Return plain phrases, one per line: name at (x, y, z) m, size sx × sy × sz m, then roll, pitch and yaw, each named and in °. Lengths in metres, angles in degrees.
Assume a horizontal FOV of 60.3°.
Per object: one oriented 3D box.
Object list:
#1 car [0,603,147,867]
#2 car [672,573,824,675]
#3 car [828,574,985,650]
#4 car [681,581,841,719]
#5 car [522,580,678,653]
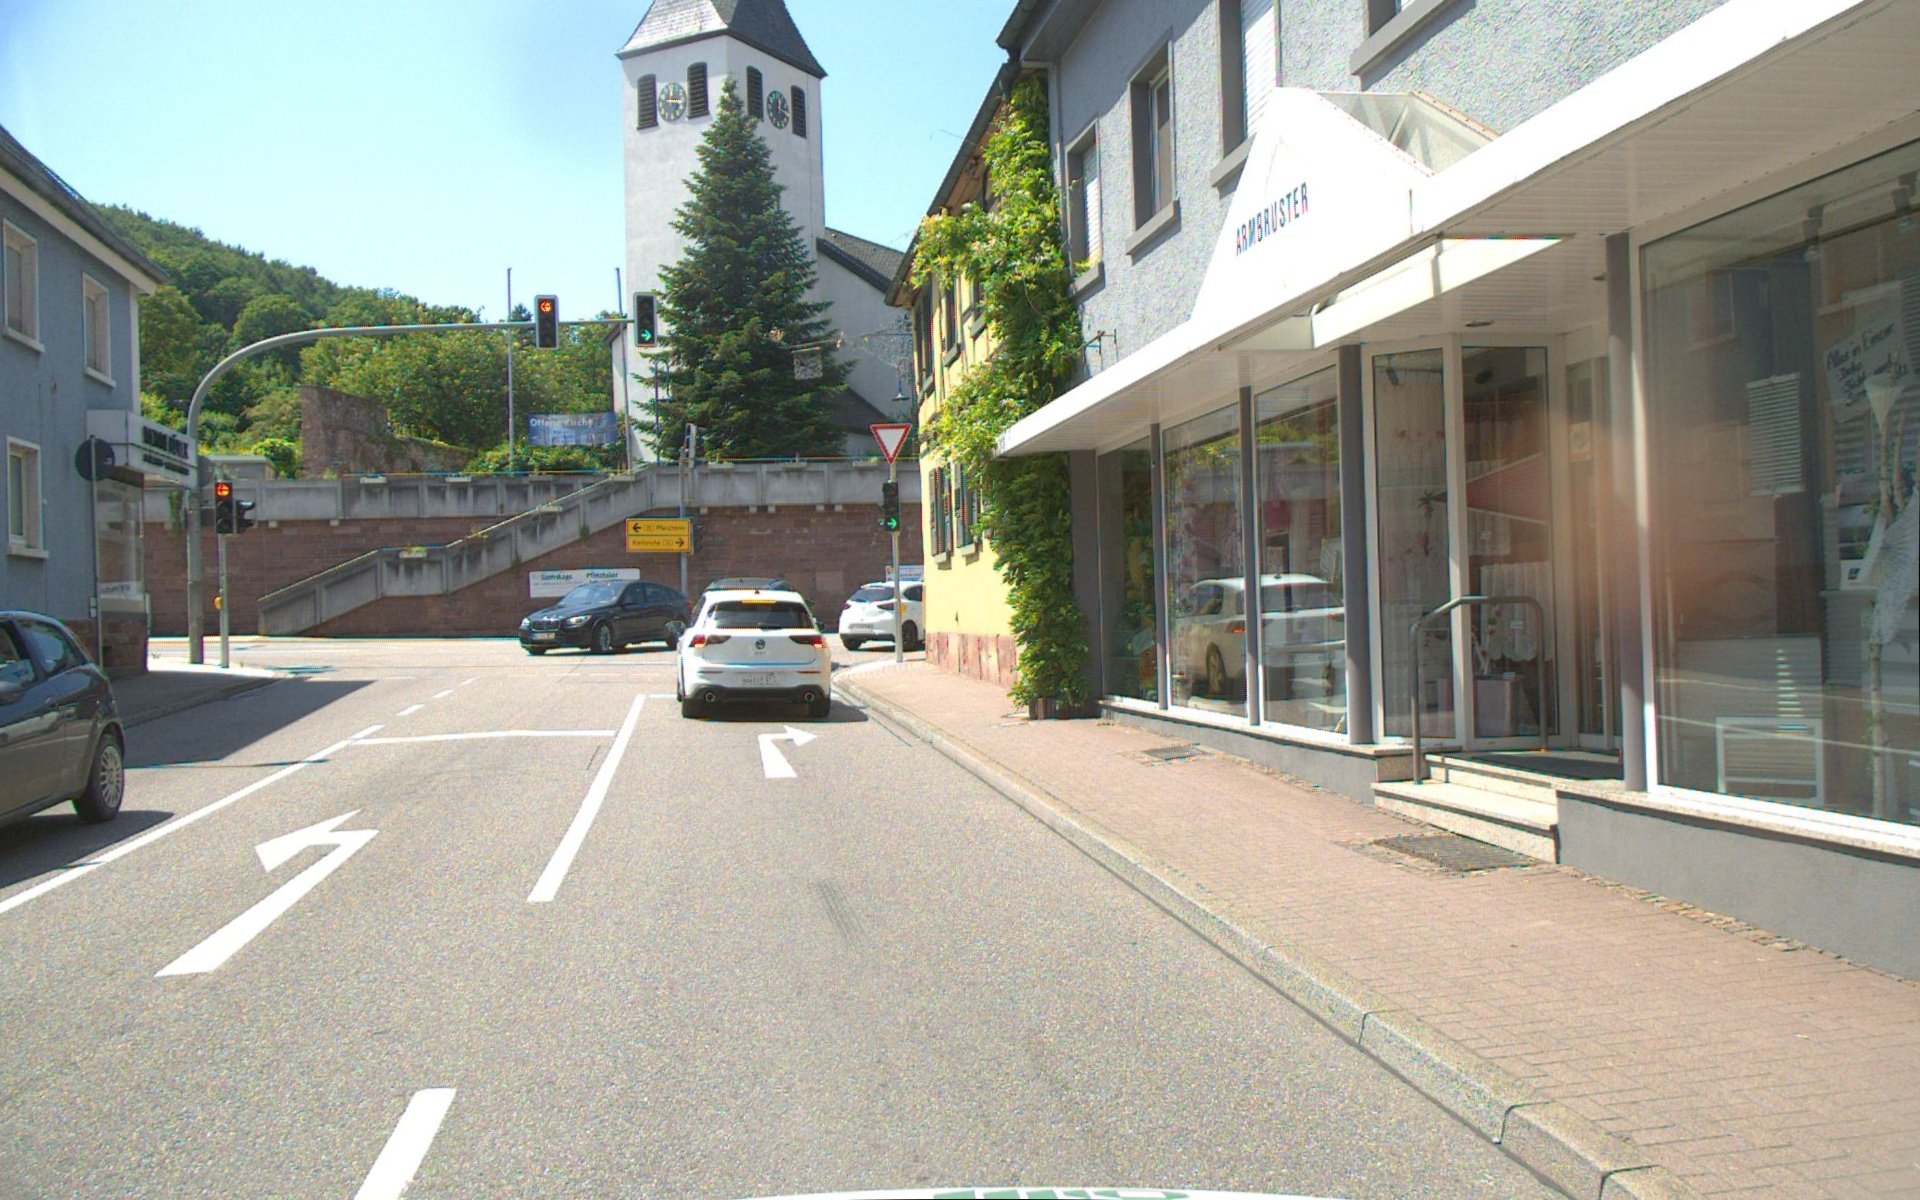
car at (-6.385, 0.828, 9.745) m, size 1.686 × 1.447 × 3.813 m, roll -3°, pitch 2°, yaw -8°
car at (-3.764, 0.379, 30.146) m, size 1.908 × 1.610 × 4.329 m, roll -1°, pitch 2°, yaw 4°
car at (-1.149, 0.224, 37.459) m, size 1.738 × 1.522 × 3.981 m, roll 0°, pitch 2°, yaw 30°
car at (-2.502, 0.553, 20.386) m, size 1.750 × 1.484 × 3.855 m, roll -1°, pitch 0°, yaw -9°
car at (-7.913, 0.310, 36.839) m, size 1.758 × 1.513 × 4.801 m, roll 0°, pitch 1°, yaw 9°
